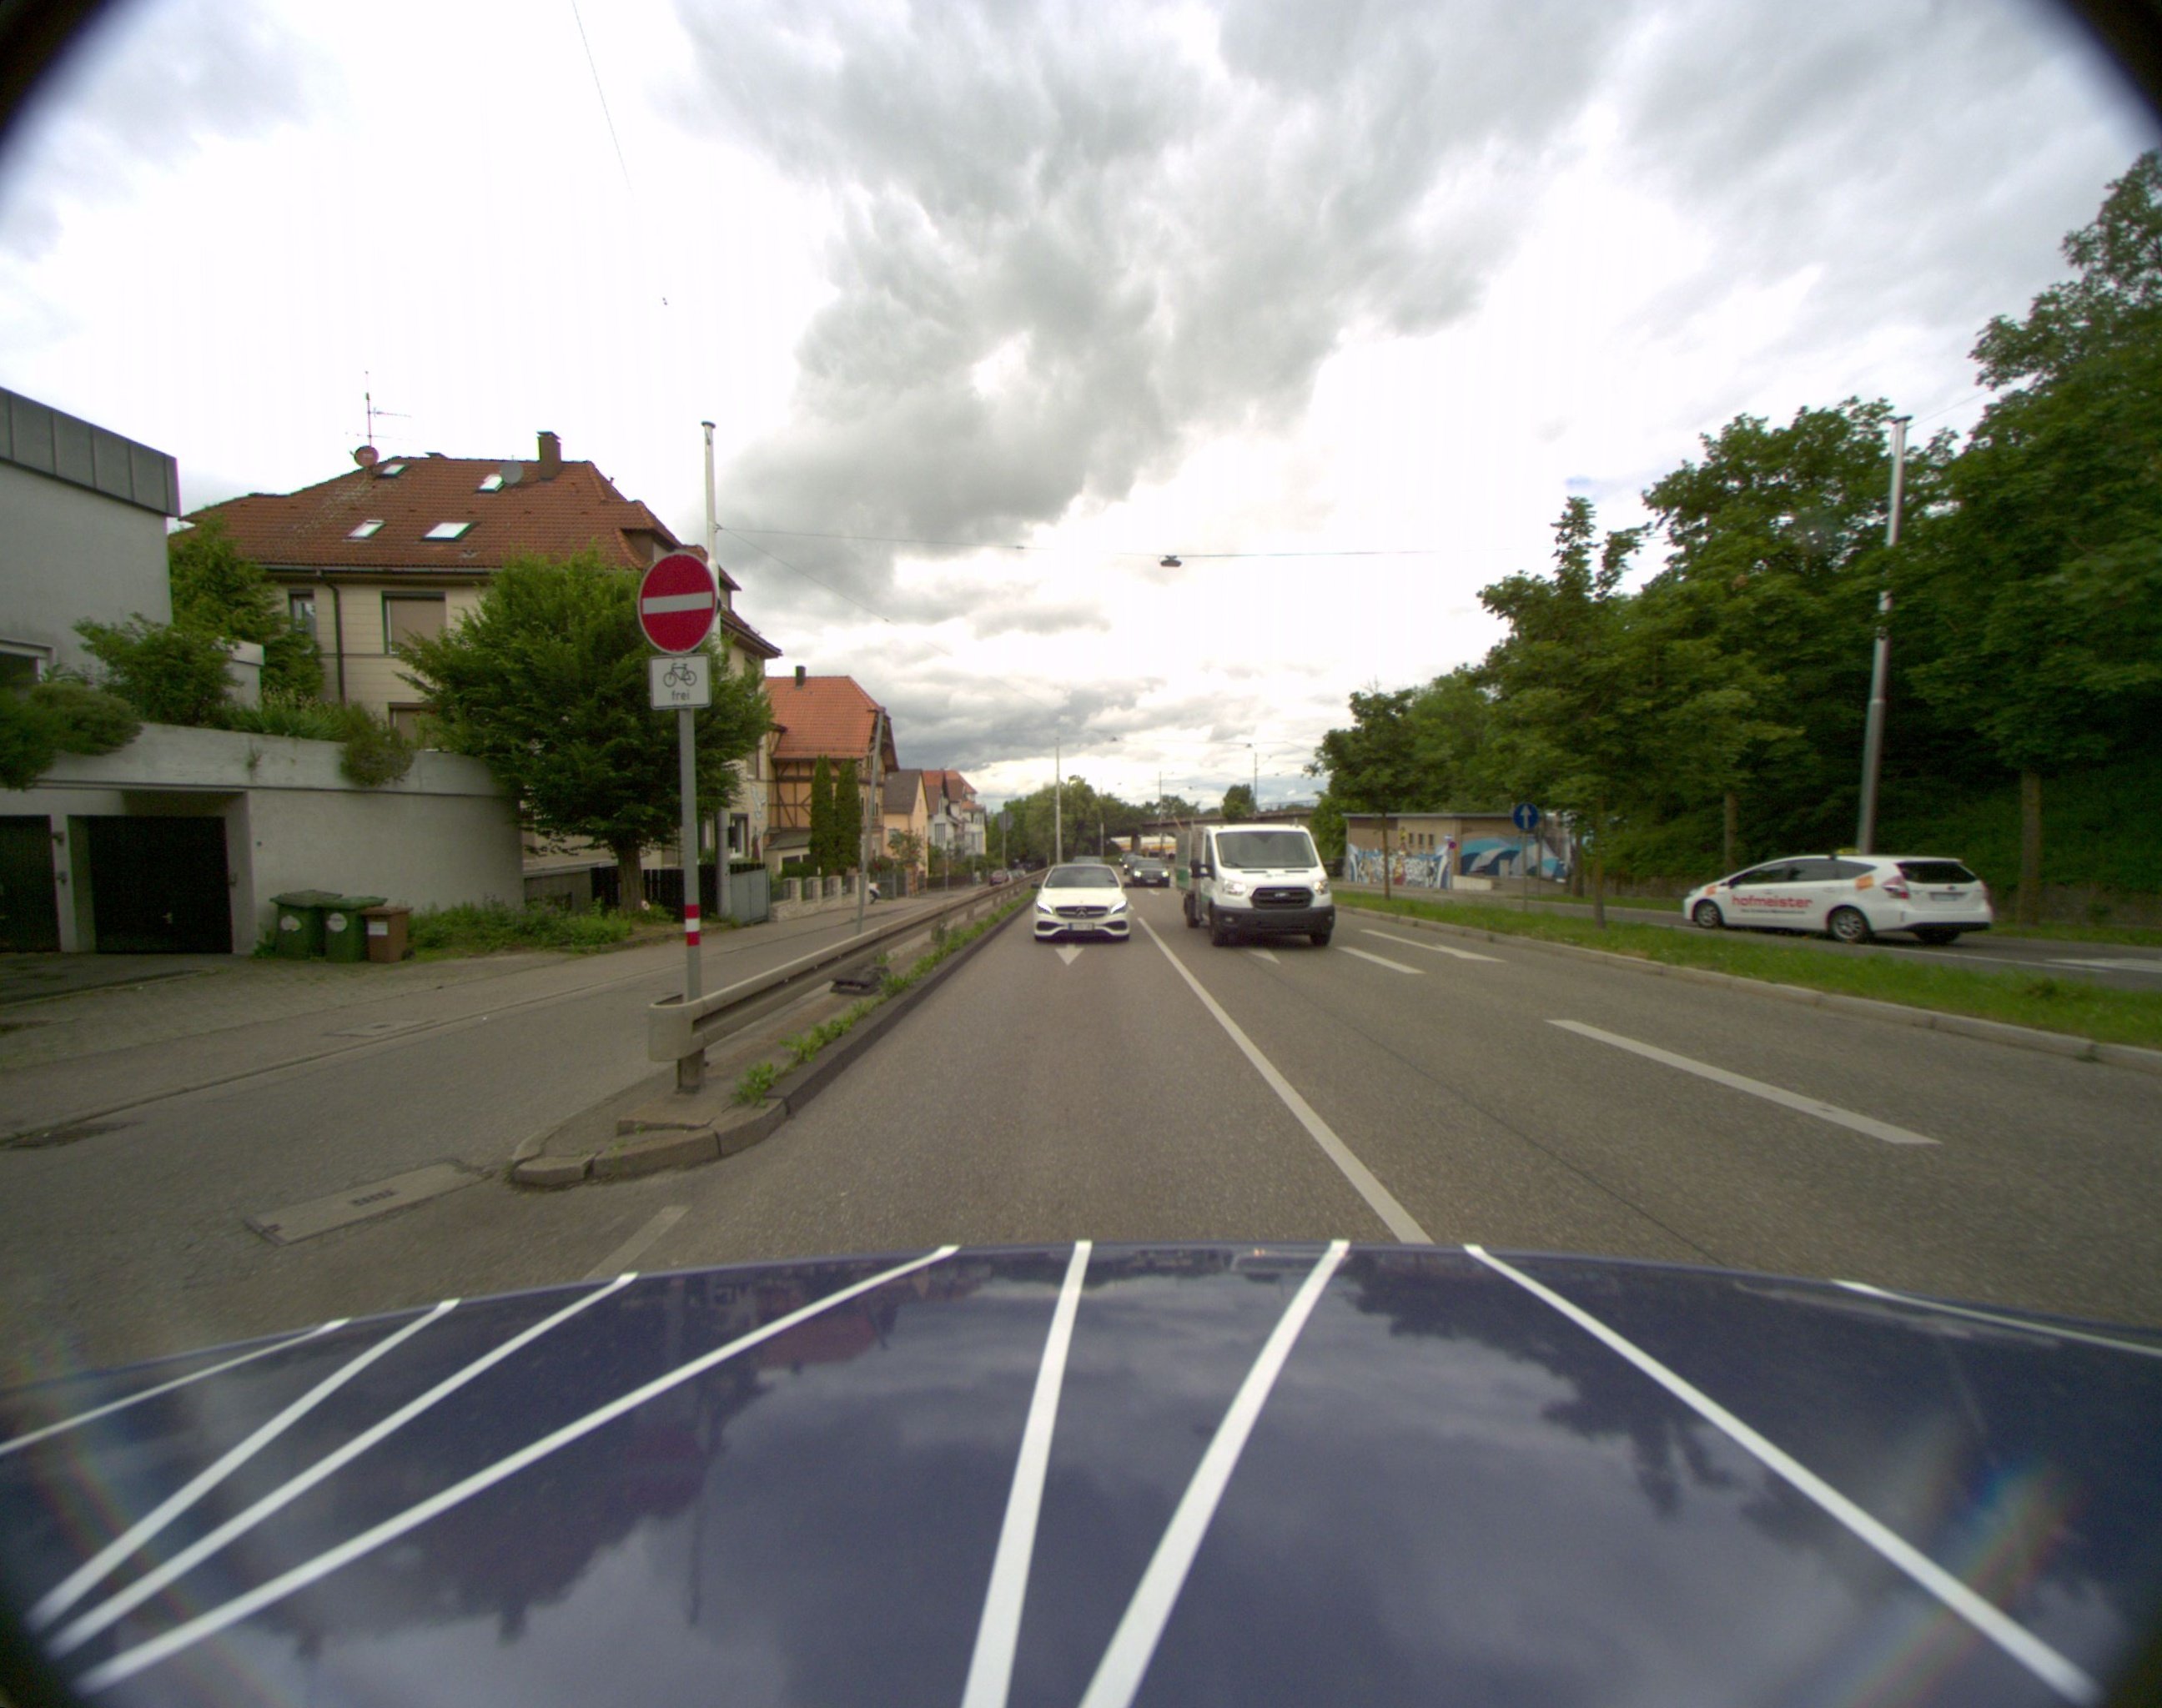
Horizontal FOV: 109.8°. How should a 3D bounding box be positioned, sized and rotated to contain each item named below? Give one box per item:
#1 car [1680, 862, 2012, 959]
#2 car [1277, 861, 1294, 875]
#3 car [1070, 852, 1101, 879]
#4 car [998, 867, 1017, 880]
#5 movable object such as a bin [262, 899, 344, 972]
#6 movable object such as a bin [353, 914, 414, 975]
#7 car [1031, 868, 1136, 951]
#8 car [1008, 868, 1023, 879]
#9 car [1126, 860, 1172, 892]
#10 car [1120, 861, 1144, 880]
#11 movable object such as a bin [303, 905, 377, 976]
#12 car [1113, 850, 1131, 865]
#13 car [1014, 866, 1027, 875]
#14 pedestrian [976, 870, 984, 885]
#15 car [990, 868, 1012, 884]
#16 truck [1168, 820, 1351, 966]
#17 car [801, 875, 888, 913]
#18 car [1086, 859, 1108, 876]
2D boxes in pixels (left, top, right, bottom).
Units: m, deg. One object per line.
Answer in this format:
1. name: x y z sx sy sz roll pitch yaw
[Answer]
1. car: 14.265 0.949 14.636 1.785 1.551 4.458 -1 0 -3
2. car: 22.108 1.518 82.004 1.634 1.411 4.005 -1 -1 16
3. car: 0.285 0.688 46.008 1.777 1.532 4.001 -1 -1 1
4. car: -8.663 2.294 89.626 1.923 1.490 4.000 -1 -1 -2
5. movable object such as a bin: -12.620 1.302 12.341 0.543 1.073 0.656 6 0 -1
6. movable object such as a bin: -11.498 1.485 12.536 0.453 0.934 0.560 3 0 -1
7. car: 0.078 1.009 15.282 1.817 1.390 4.000 -1 0 1
8. car: -9.075 2.711 105.898 1.851 1.354 3.999 -1 0 -2
9. car: 3.466 1.095 39.198 1.916 1.472 4.400 -1 -1 0
10. car: 4.253 1.374 64.030 1.777 1.520 4.001 0 -1 1
11. movable object such as a bin: -12.045 1.398 12.361 0.543 1.048 0.560 6 0 -1
12. car: 5.302 0.463 97.571 1.776 1.783 4.004 0 -1 10
13. car: -10.167 2.735 127.935 1.851 1.354 4.000 -1 -1 -2
14. pedestrian: -10.089 2.335 76.210 0.713 1.462 0.695 -1 0 -2
15. car: -8.396 2.291 80.196 1.923 1.641 4.000 -1 -1 -2
16. truck: 3.201 0.602 15.248 2.081 2.307 6.330 0 0 -1
17. car: -11.393 1.898 36.683 3.800 1.396 1.544 -6 1 -19
18. car: 1.357 1.127 66.017 1.777 1.390 4.000 -1 -1 1
